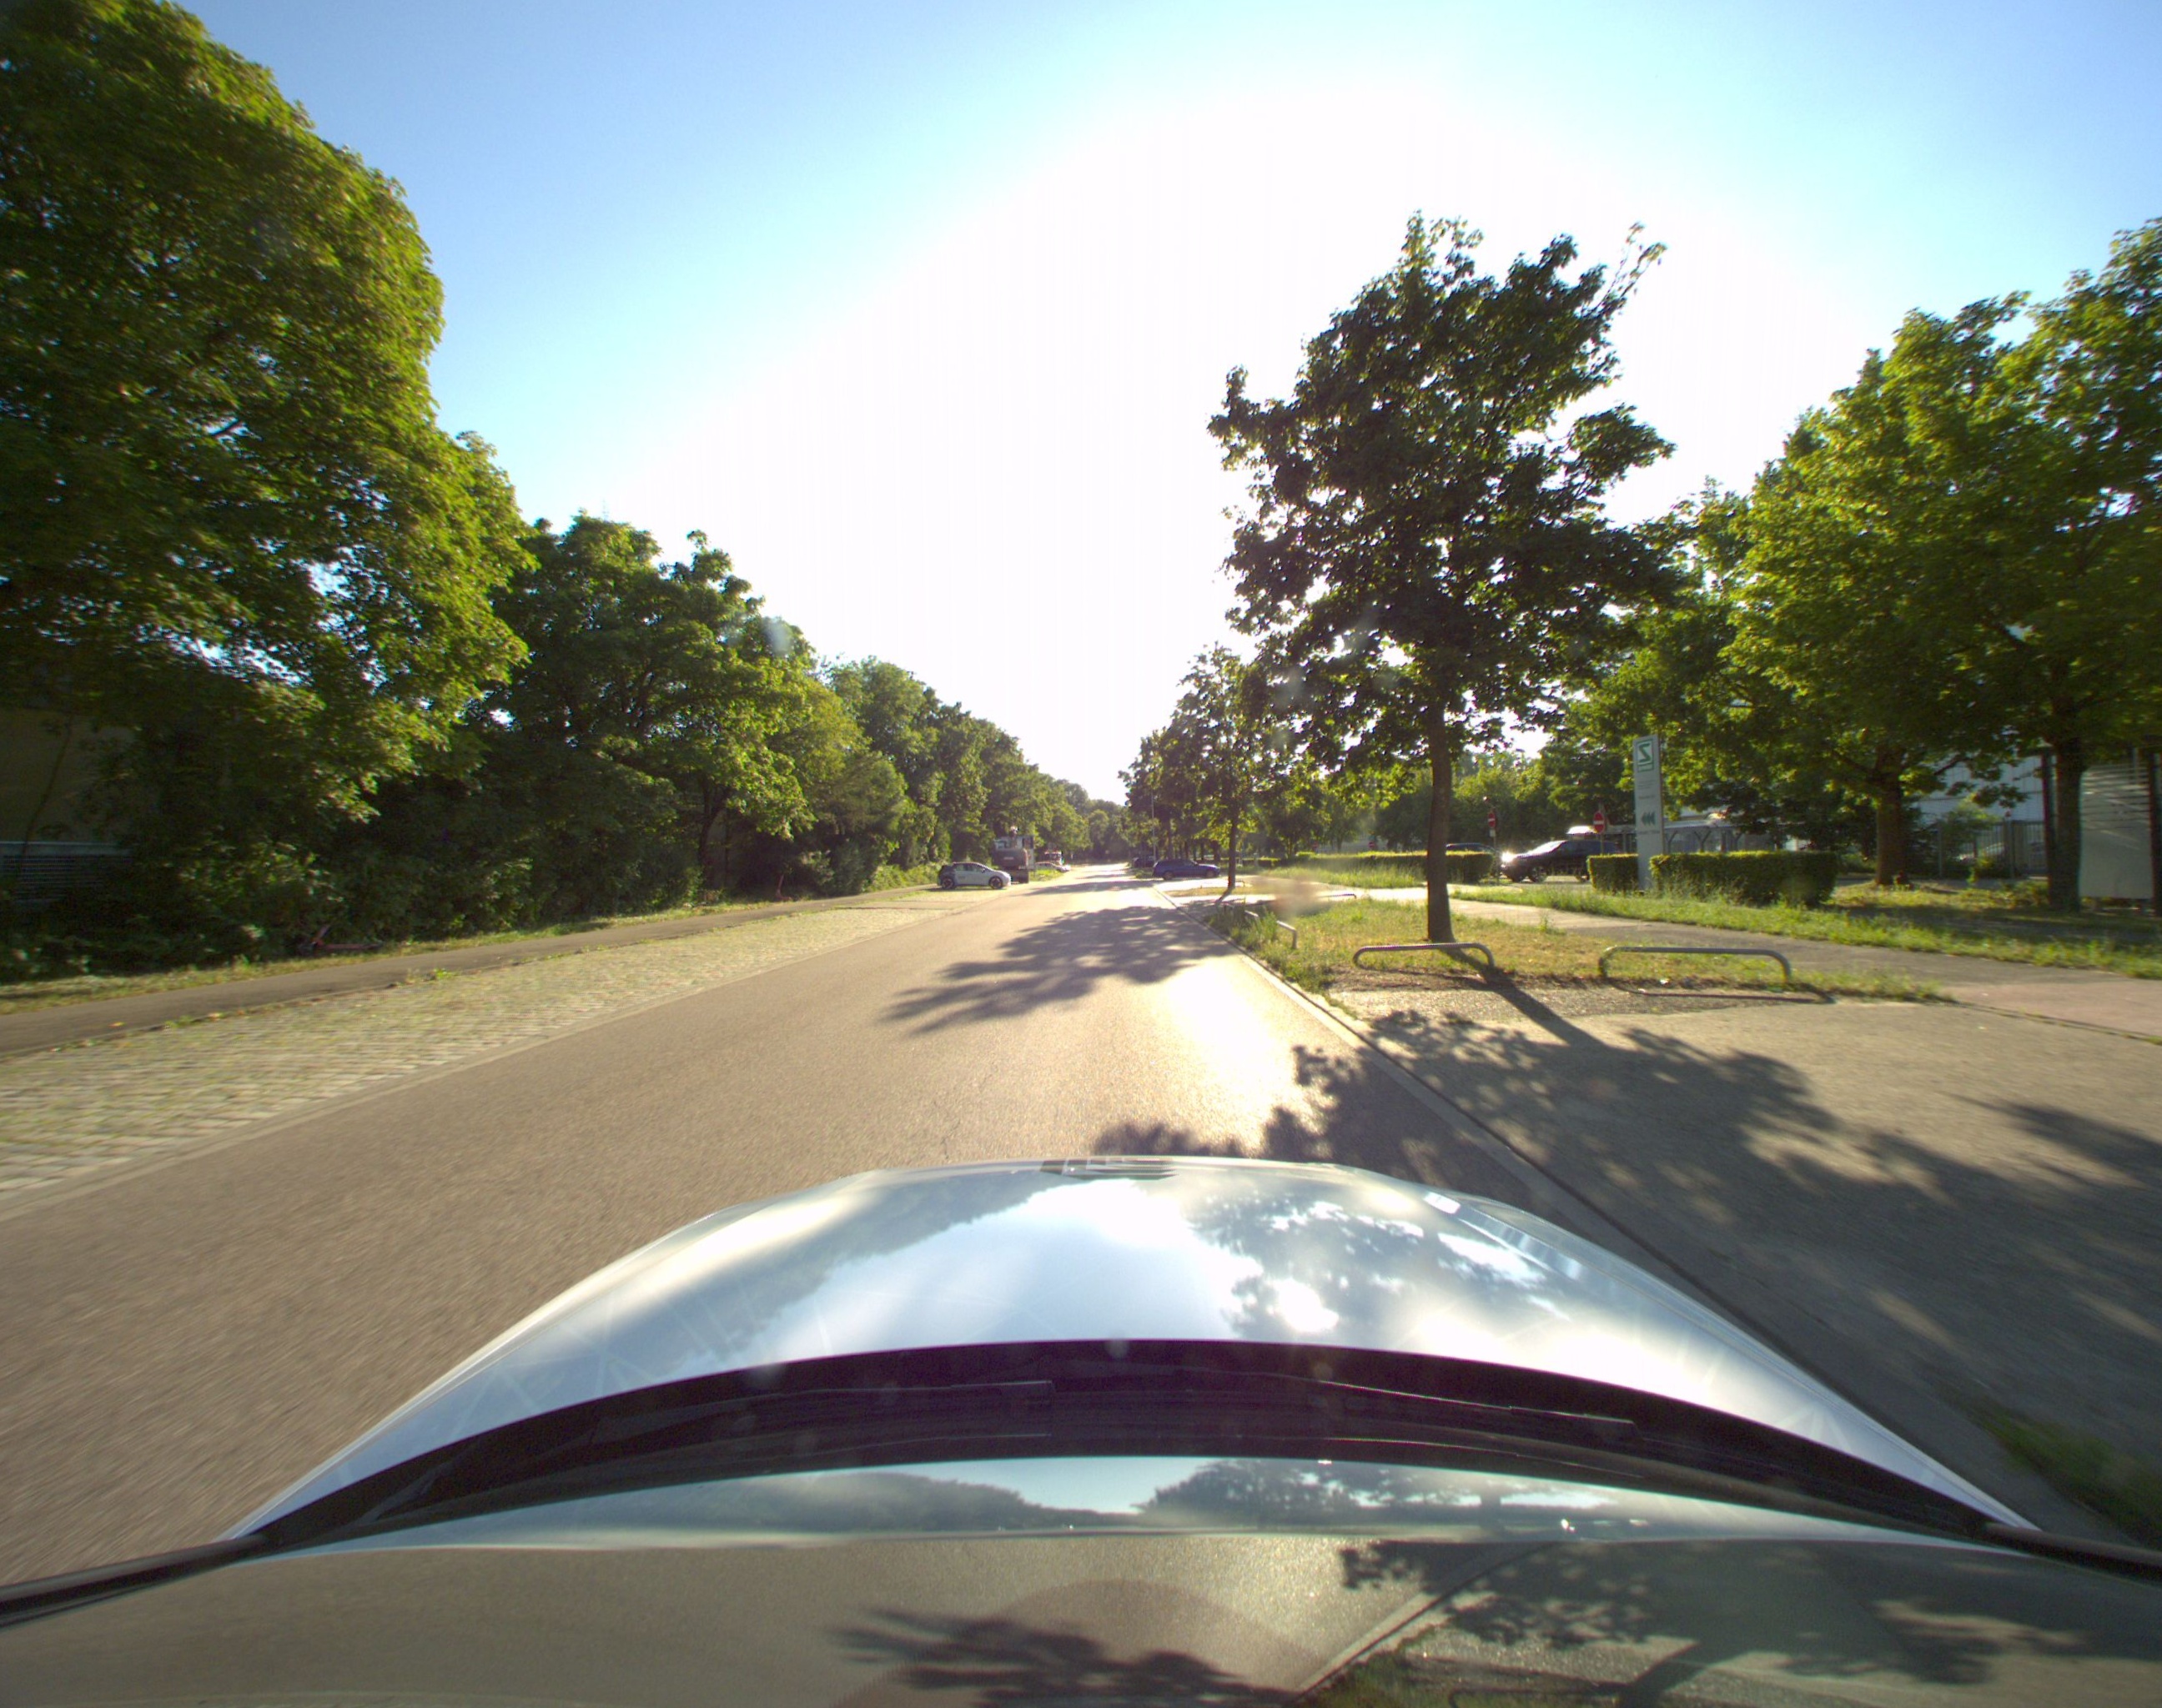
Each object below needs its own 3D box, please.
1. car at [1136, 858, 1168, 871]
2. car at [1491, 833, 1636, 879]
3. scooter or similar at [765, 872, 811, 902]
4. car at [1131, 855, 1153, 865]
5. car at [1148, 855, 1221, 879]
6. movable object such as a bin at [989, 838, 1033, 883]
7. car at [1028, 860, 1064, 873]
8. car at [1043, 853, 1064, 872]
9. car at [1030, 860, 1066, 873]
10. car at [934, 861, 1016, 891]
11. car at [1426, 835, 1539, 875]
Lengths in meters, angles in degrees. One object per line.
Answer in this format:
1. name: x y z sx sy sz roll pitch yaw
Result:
1. car: 9.742 1.473 112.276 4.343 1.729 2.000 0 0 1
2. car: 18.606 0.073 31.607 4.409 1.706 2.062 0 0 4
3. scooter or similar: -11.651 1.302 32.405 0.570 1.145 1.594 -3 -1 42
4. car: 11.166 1.126 149.081 3.973 1.680 2.000 -2 -1 1
5. car: 7.088 0.871 56.157 4.822 1.479 2.001 -2 0 2
6. movable object such as a bin: -5.077 0.457 59.790 2.831 3.069 4.922 -2 0 -2
7. car: -4.308 1.506 99.924 4.351 1.479 1.997 -2 0 -5
8. car: -3.693 1.091 109.289 2.512 2.386 4.365 -2 0 -5
9. car: -4.194 1.517 102.591 4.351 1.479 1.997 -2 0 -5
10. car: -6.081 1.238 47.010 4.341 1.547 2.001 2 0 2
11. car: 18.930 0.031 38.554 4.340 1.705 2.002 -2 0 3
